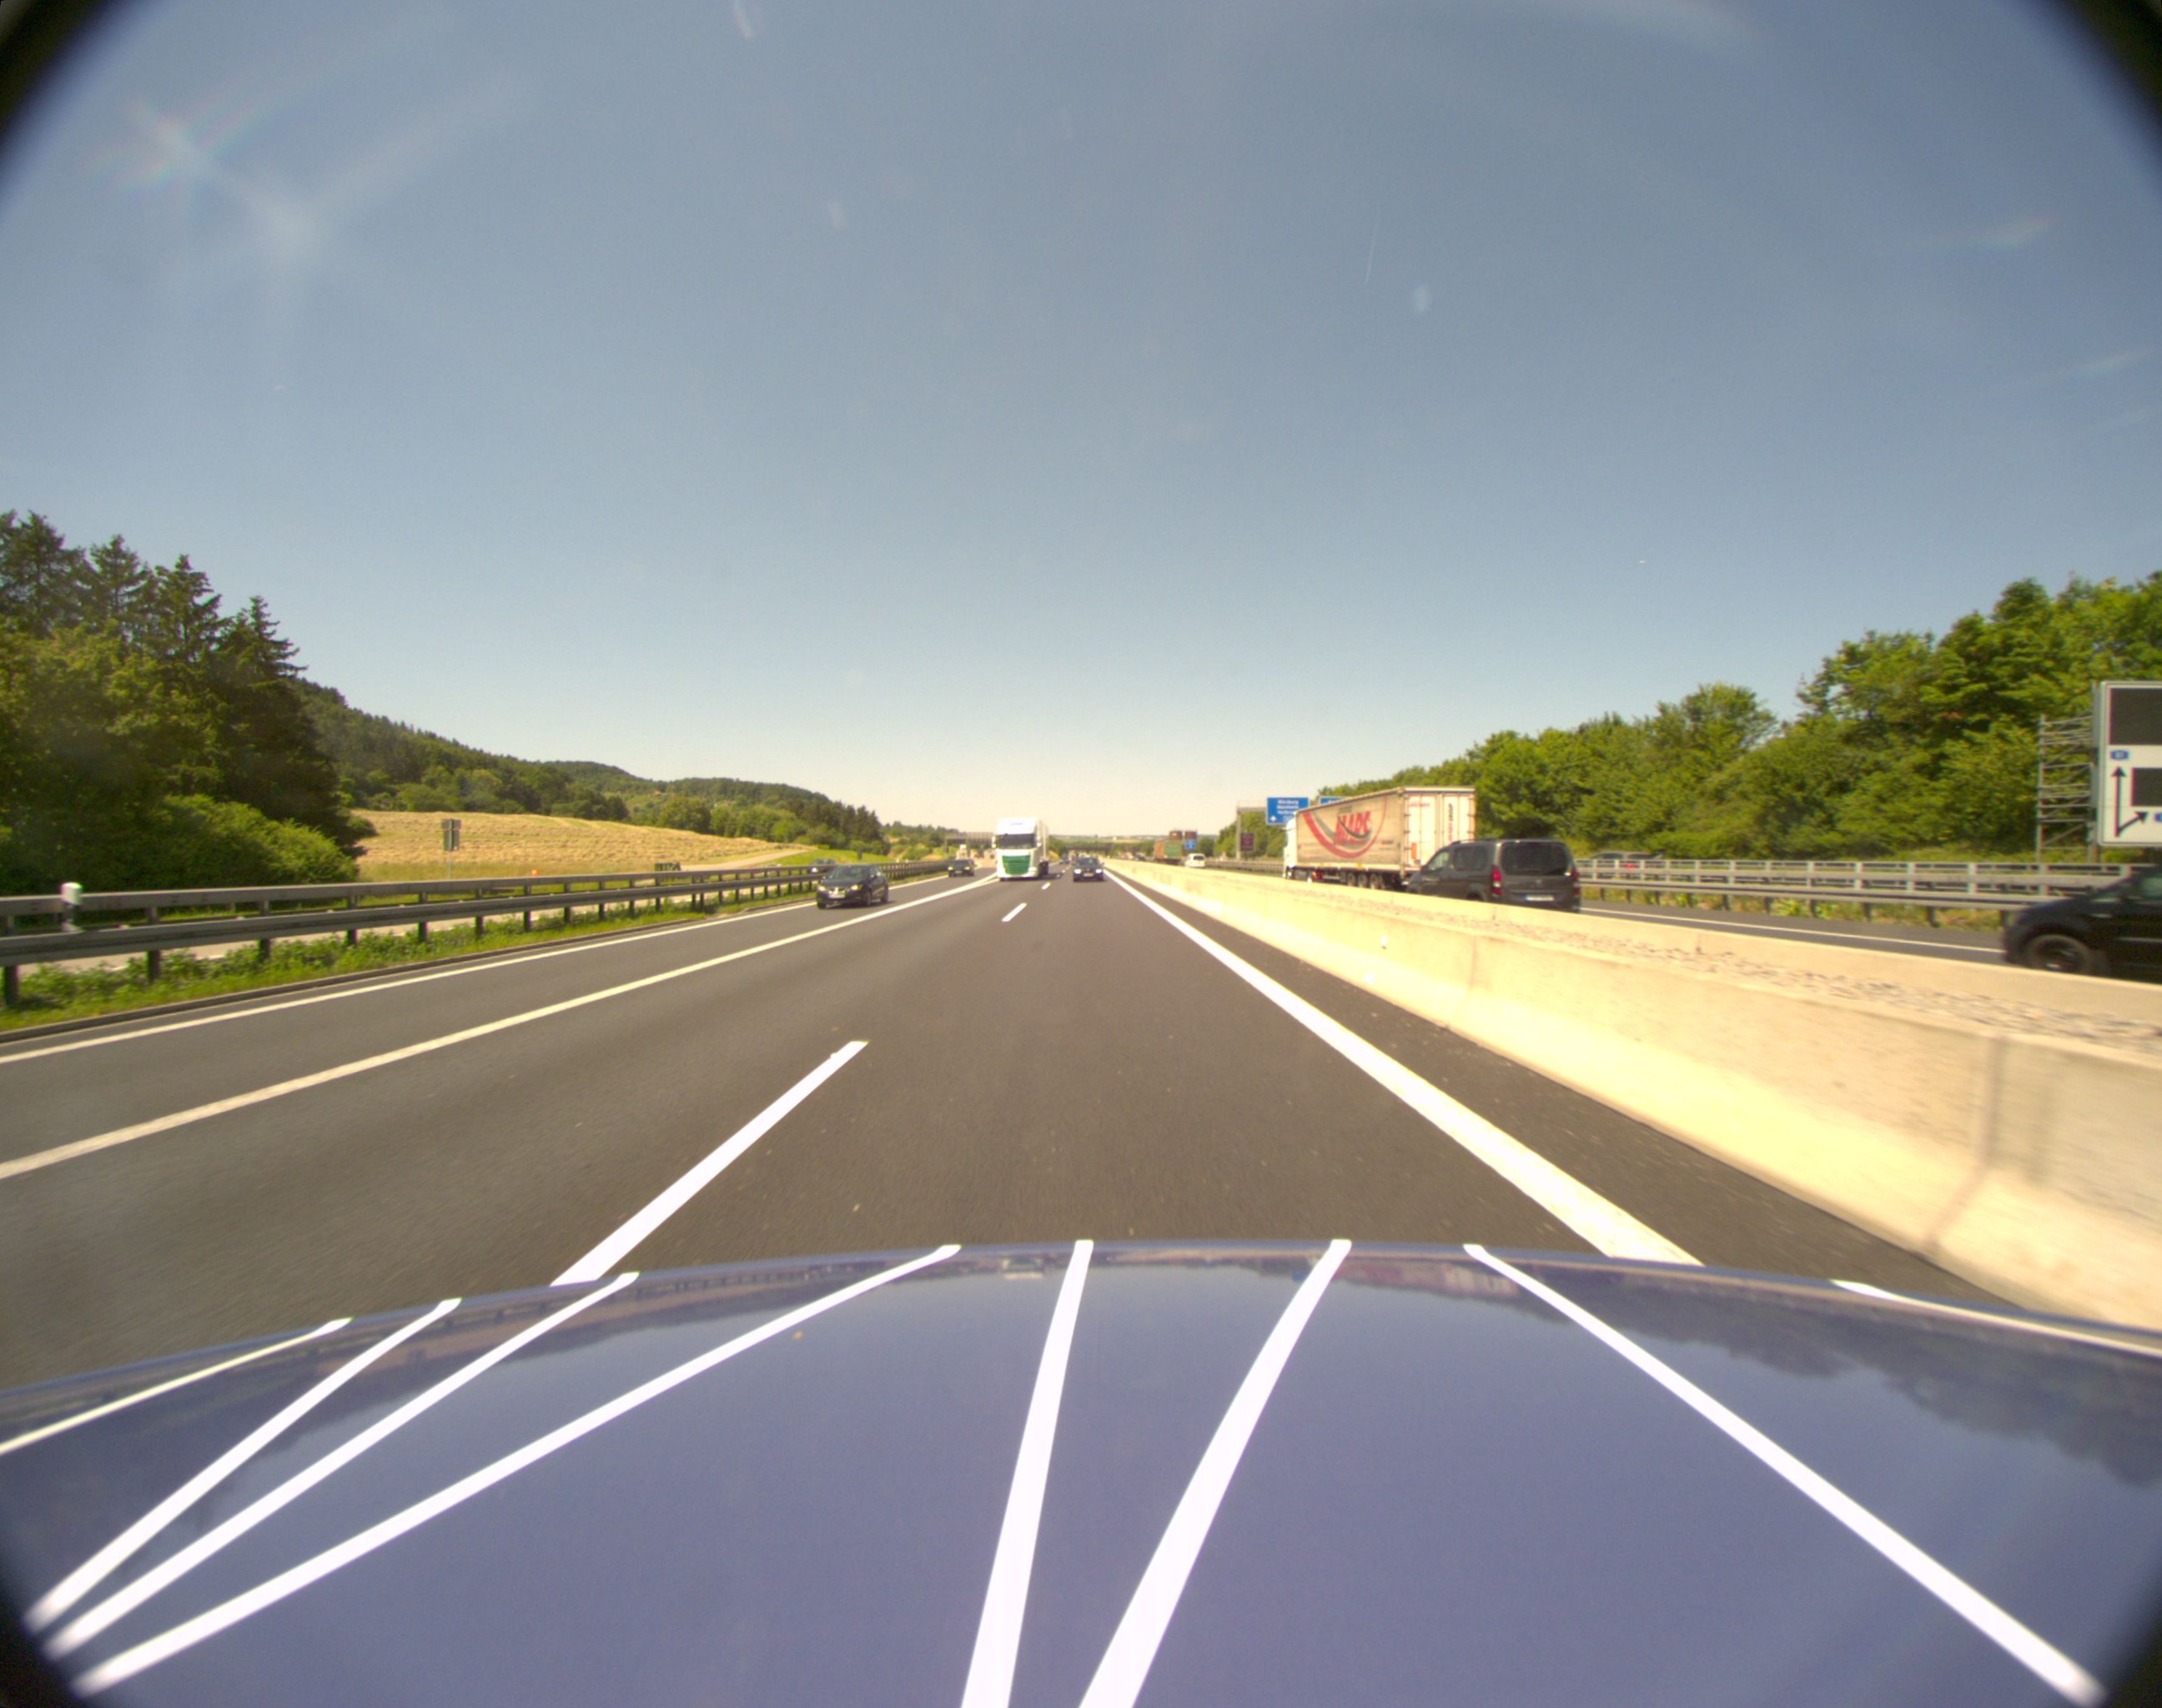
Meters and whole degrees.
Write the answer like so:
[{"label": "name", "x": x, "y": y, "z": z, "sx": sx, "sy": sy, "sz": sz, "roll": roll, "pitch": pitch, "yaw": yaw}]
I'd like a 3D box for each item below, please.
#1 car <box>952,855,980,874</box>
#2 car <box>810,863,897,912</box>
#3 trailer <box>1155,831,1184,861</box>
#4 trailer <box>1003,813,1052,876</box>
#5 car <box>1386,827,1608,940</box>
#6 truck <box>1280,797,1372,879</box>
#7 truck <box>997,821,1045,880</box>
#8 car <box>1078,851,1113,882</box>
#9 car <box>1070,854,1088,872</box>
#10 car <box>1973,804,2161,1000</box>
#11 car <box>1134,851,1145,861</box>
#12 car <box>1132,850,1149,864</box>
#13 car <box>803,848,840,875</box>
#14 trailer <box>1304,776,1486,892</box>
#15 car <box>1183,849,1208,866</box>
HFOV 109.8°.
[{"label": "car", "x": -9.484, "y": 0.859, "z": 62.751, "sx": 1.892, "sy": 1.464, "sz": 3.865, "roll": -2, "pitch": 1, "yaw": -3}, {"label": "car", "x": -7.643, "y": 1.086, "z": 25.937, "sx": 1.781, "sy": 1.392, "sz": 3.760, "roll": -2, "pitch": 1, "yaw": 0}, {"label": "trailer", "x": 13.223, "y": -1.219, "z": 114.911, "sx": 2.674, "sy": 4.248, "sz": 13.813, "roll": -2, "pitch": 1, "yaw": 0}, {"label": "trailer", "x": -3.861, "y": -0.696, "z": 58.552, "sx": 2.663, "sy": 4.164, "sz": 14.893, "roll": -2, "pitch": 0, "yaw": 0}, {"label": "car", "x": 8.613, "y": 0.513, "z": 16.373, "sx": 2.056, "sy": 2.002, "sz": 4.954, "roll": -2, "pitch": 1, "yaw": 0}, {"label": "truck", "x": 12.895, "y": -0.811, "z": 40.520, "sx": 2.936, "sy": 3.950, "sz": 5.897, "roll": -2, "pitch": 1, "yaw": 0}, {"label": "truck", "x": -3.795, "y": -0.252, "z": 48.888, "sx": 2.649, "sy": 3.572, "sz": 4.403, "roll": -2, "pitch": 1, "yaw": -1}, {"label": "car", "x": 0.752, "y": 0.637, "z": 41.577, "sx": 1.799, "sy": 1.574, "sz": 3.999, "roll": -2, "pitch": 1, "yaw": 0}, {"label": "car", "x": -0.175, "y": 1.032, "z": 88.028, "sx": 1.998, "sy": 2.002, "sz": 3.999, "roll": -2, "pitch": 1, "yaw": 0}, {"label": "car", "x": 11.988, "y": 0.465, "z": 7.108, "sx": 1.999, "sy": 2.002, "sz": 4.484, "roll": -2, "pitch": 1, "yaw": -1}, {"label": "car", "x": 12.135, "y": 0.404, "z": 157.635, "sx": 1.923, "sy": 2.002, "sz": 5.346, "roll": 0, "pitch": 0, "yaw": 0}, {"label": "car", "x": 8.472, "y": 0.372, "z": 108.902, "sx": 1.989, "sy": 1.816, "sz": 4.825, "roll": -2, "pitch": 1, "yaw": -1}, {"label": "car", "x": -20.337, "y": 0.579, "z": 59.746, "sx": 2.000, "sy": 2.002, "sz": 3.997, "roll": -1, "pitch": 0, "yaw": -8}, {"label": "trailer", "x": 12.890, "y": -0.755, "z": 32.909, "sx": 2.917, "sy": 4.022, "sz": 12.062, "roll": -2, "pitch": 1, "yaw": 1}, {"label": "car", "x": 12.667, "y": 0.365, "z": 84.234, "sx": 1.746, "sy": 1.816, "sz": 4.902, "roll": -2, "pitch": 1, "yaw": -2}]
